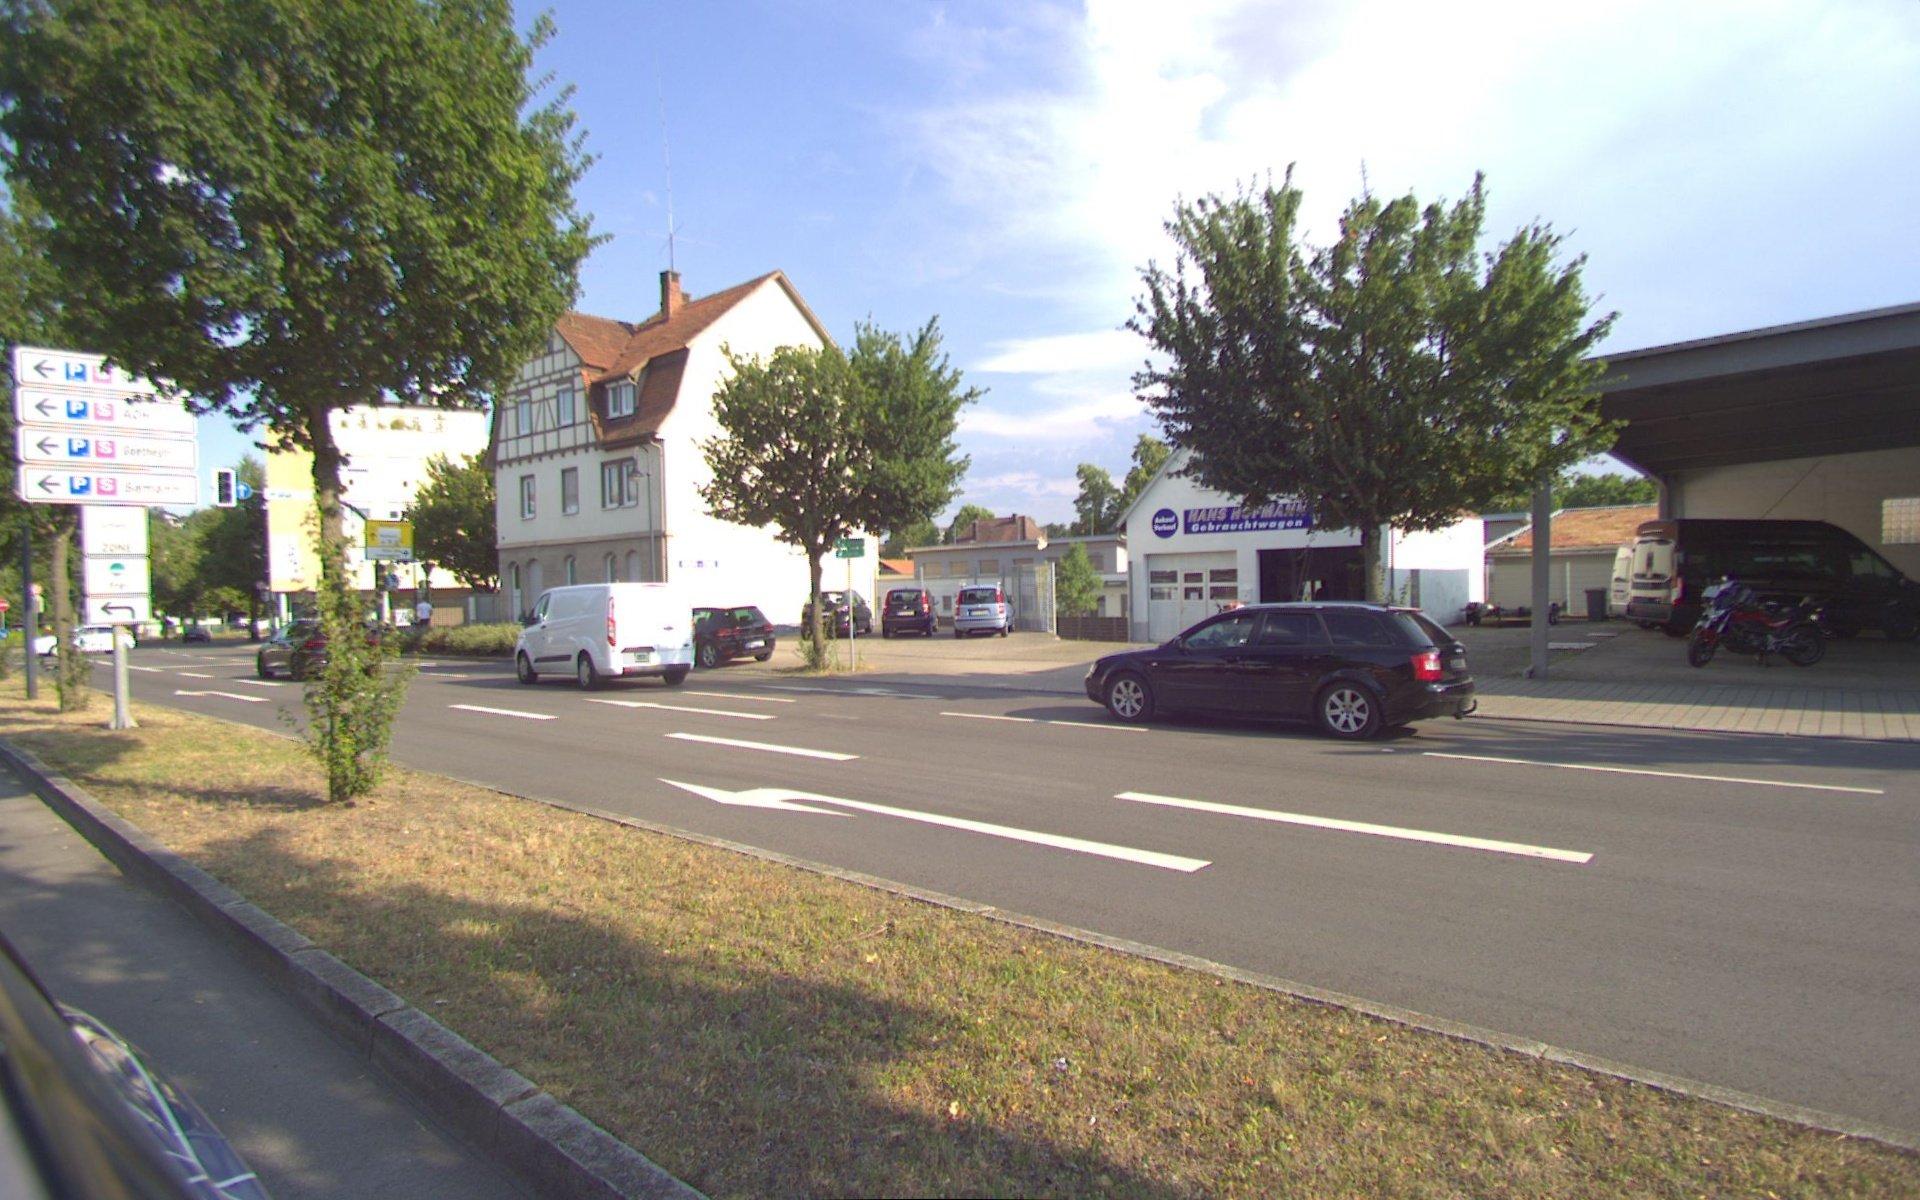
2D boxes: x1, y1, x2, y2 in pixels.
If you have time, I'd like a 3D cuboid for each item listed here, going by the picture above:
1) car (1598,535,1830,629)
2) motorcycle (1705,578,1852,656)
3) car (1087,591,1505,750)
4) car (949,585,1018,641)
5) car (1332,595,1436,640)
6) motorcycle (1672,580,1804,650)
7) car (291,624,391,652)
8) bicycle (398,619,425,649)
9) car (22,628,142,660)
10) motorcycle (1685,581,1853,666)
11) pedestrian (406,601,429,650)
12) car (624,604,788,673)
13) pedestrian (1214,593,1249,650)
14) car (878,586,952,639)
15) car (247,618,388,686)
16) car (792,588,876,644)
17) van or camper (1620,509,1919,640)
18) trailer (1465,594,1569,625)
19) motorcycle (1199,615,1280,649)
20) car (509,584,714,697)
[{"bbox_3d":[19.535,-0.443,26.395,4.325,2.266,2.201,-1,0,0],"label":"car"},{"bbox_3d":[14.488,0.299,17.958,1.982,1.321,0.649,-1,0,4],"label":"motorcycle"},{"bbox_3d":[3.745,0.697,11.745,4.244,1.508,1.788,-1,0,41],"label":"car"},{"bbox_3d":[0.791,0.369,30.843,1.746,1.564,3.992,-1,0,6],"label":"car"},{"bbox_3d":[14.065,0.547,33.495,1.886,1.395,4.026,-1,0,43],"label":"car"},{"bbox_3d":[15.253,0.287,19.873,1.982,1.321,0.649,-1,0,4],"label":"motorcycle"},{"bbox_3d":[-34.829,2.126,57.032,4.595,1.364,1.770,-1,0,-41],"label":"car"},{"bbox_3d":[-23.156,1.421,42.708,0.671,1.231,1.516,-1,0,-41],"label":"bicycle"},{"bbox_3d":[-42.539,2.090,49.095,1.763,1.364,4.084,-1,0,34],"label":"car"},{"bbox_3d":[13.029,0.374,16.366,1.991,1.321,0.666,-1,0,18],"label":"motorcycle"},{"bbox_3d":[-22.472,1.032,41.903,0.689,1.997,0.589,-1,0,-41],"label":"pedestrian"},{"bbox_3d":[-6.396,0.912,25.275,4.192,1.454,1.816,-1,3,41],"label":"car"},{"bbox_3d":[7.524,0.589,28.004,0.643,1.535,0.675,-1,0,-42],"label":"pedestrian"},{"bbox_3d":[-1.377,0.377,32.525,1.746,1.564,3.992,-1,0,6],"label":"car"},{"bbox_3d":[-15.489,1.179,24.335,4.105,1.462,1.751,-1,0,41],"label":"car"},{"bbox_3d":[-3.986,0.460,32.604,1.746,1.563,3.993,-2,1,6],"label":"car"},{"bbox_3d":[18.055,-0.525,22.681,4.987,2.700,1.992,-1,0,13],"label":"van or camper"},{"bbox_3d":[17.879,0.295,32.438,2.448,0.831,3.152,-1,2,38],"label":"trailer"},{"bbox_3d":[7.856,0.886,28.516,2.211,0.927,0.500,-1,0,45],"label":"motorcycle"},{"bbox_3d":[-6.922,0.722,19.777,4.947,1.938,1.802,-1,0,45],"label":"car"}]
